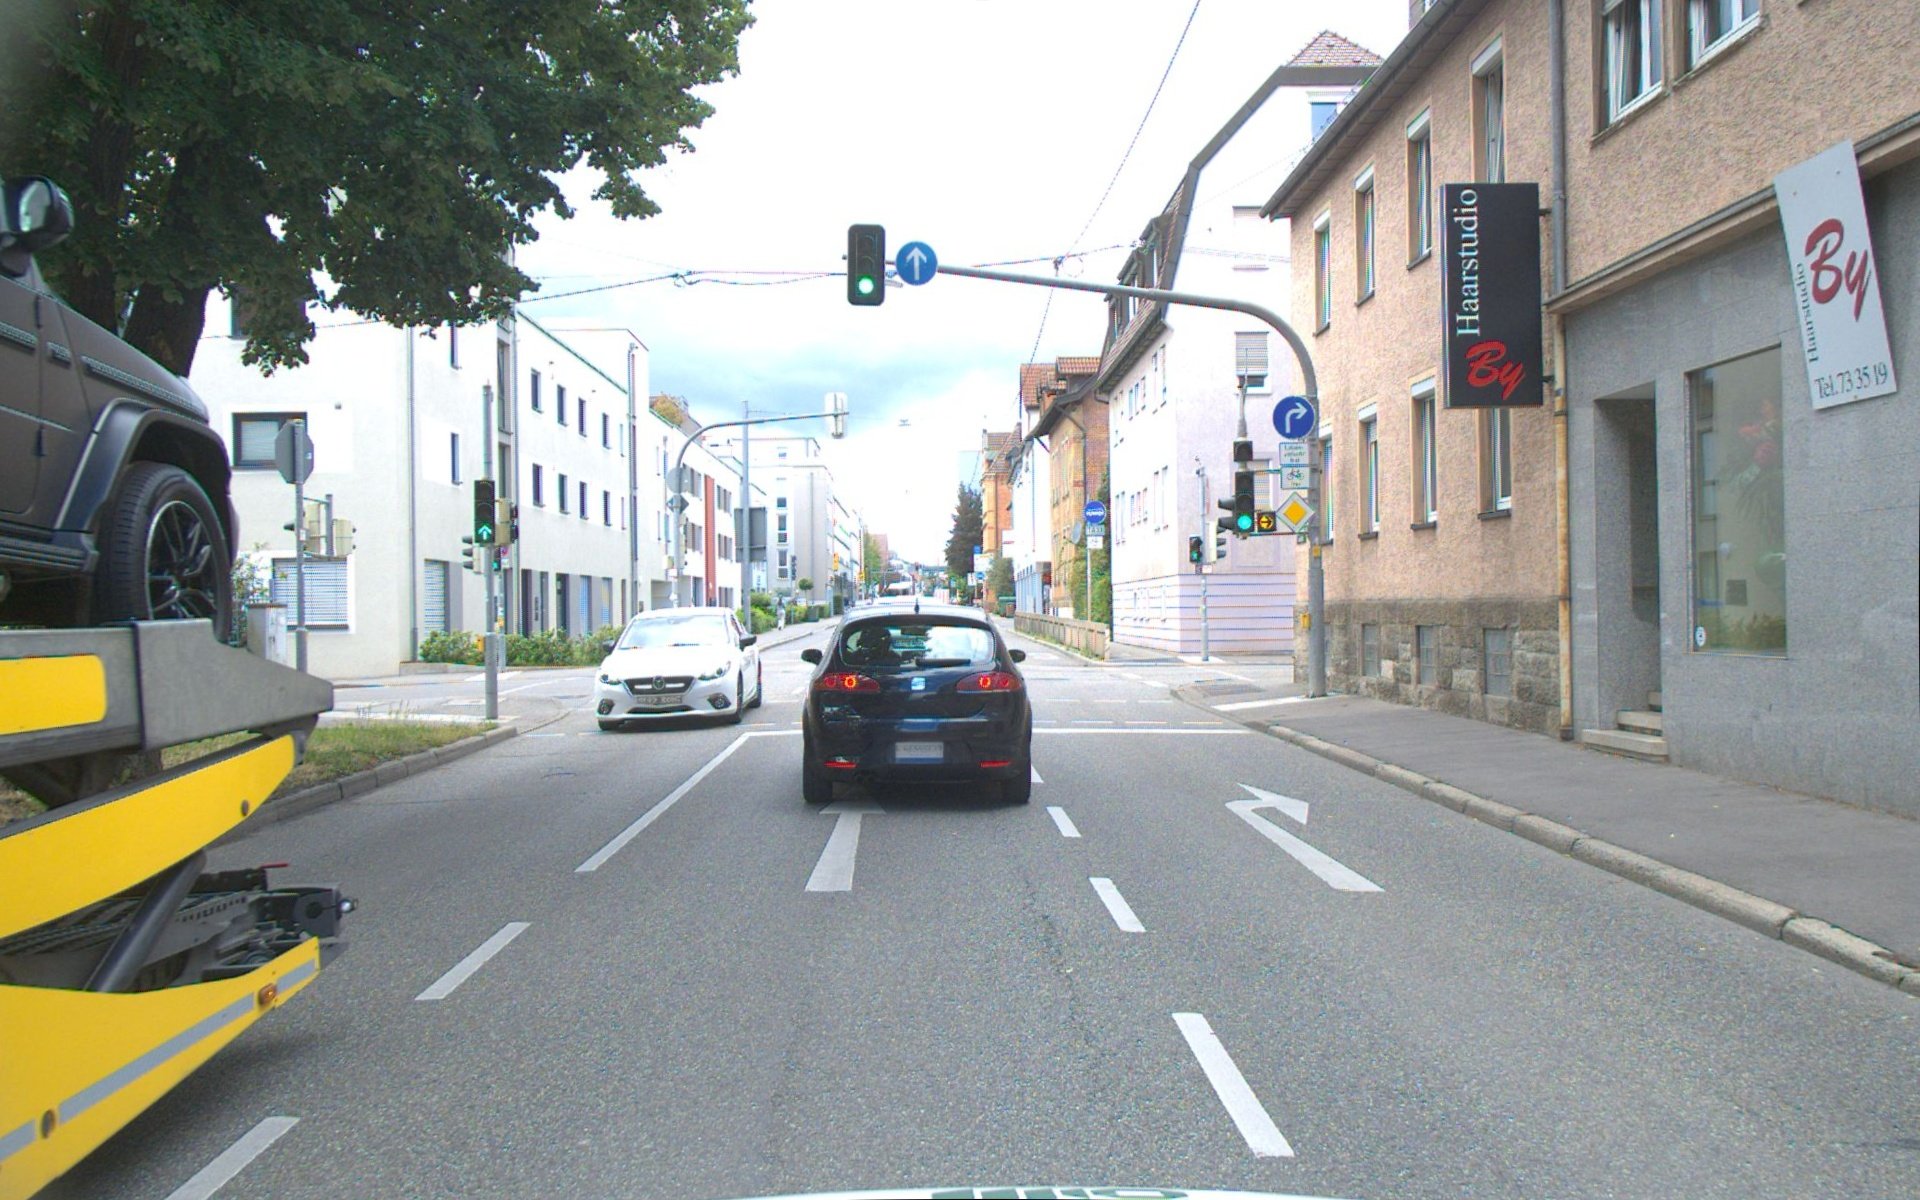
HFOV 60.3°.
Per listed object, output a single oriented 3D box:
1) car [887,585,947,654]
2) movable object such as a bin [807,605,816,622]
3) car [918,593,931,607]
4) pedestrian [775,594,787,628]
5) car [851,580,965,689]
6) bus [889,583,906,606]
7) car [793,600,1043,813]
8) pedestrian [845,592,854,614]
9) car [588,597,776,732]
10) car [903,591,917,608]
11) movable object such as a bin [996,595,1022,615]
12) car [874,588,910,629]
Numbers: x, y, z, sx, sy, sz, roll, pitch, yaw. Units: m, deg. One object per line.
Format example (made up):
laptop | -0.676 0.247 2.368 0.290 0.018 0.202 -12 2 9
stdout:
car | -1.125 0.504 43.463 1.500 1.723 3.691 0 0 -2
movable object such as a bin | -9.324 0.853 103.769 0.538 1.097 0.611 0 -1 -1
car | -4.517 -0.058 209.882 1.500 1.722 3.692 -1 0 -2
pedestrian | -8.447 0.521 78.130 0.516 1.575 0.541 0 -1 -2
car | -0.884 0.563 28.367 1.805 1.723 3.998 0 0 -2
bus | -8.233 -0.683 217.889 2.165 2.937 8.916 0 0 -1
car | -0.336 0.754 13.458 1.723 1.467 3.999 0 0 -1
pedestrian | -8.906 0.266 133.431 0.716 1.759 0.859 0 -1 -2
car | -3.536 0.778 21.724 1.731 1.495 4.225 -4 0 -1
car | -5.455 -0.064 181.332 1.500 1.722 3.692 -1 0 -2
movable object such as a bin | 3.584 0.348 121.230 1.781 1.462 1.992 0 0 -1
car | -2.896 0.359 71.347 1.500 1.723 3.691 0 0 -2
